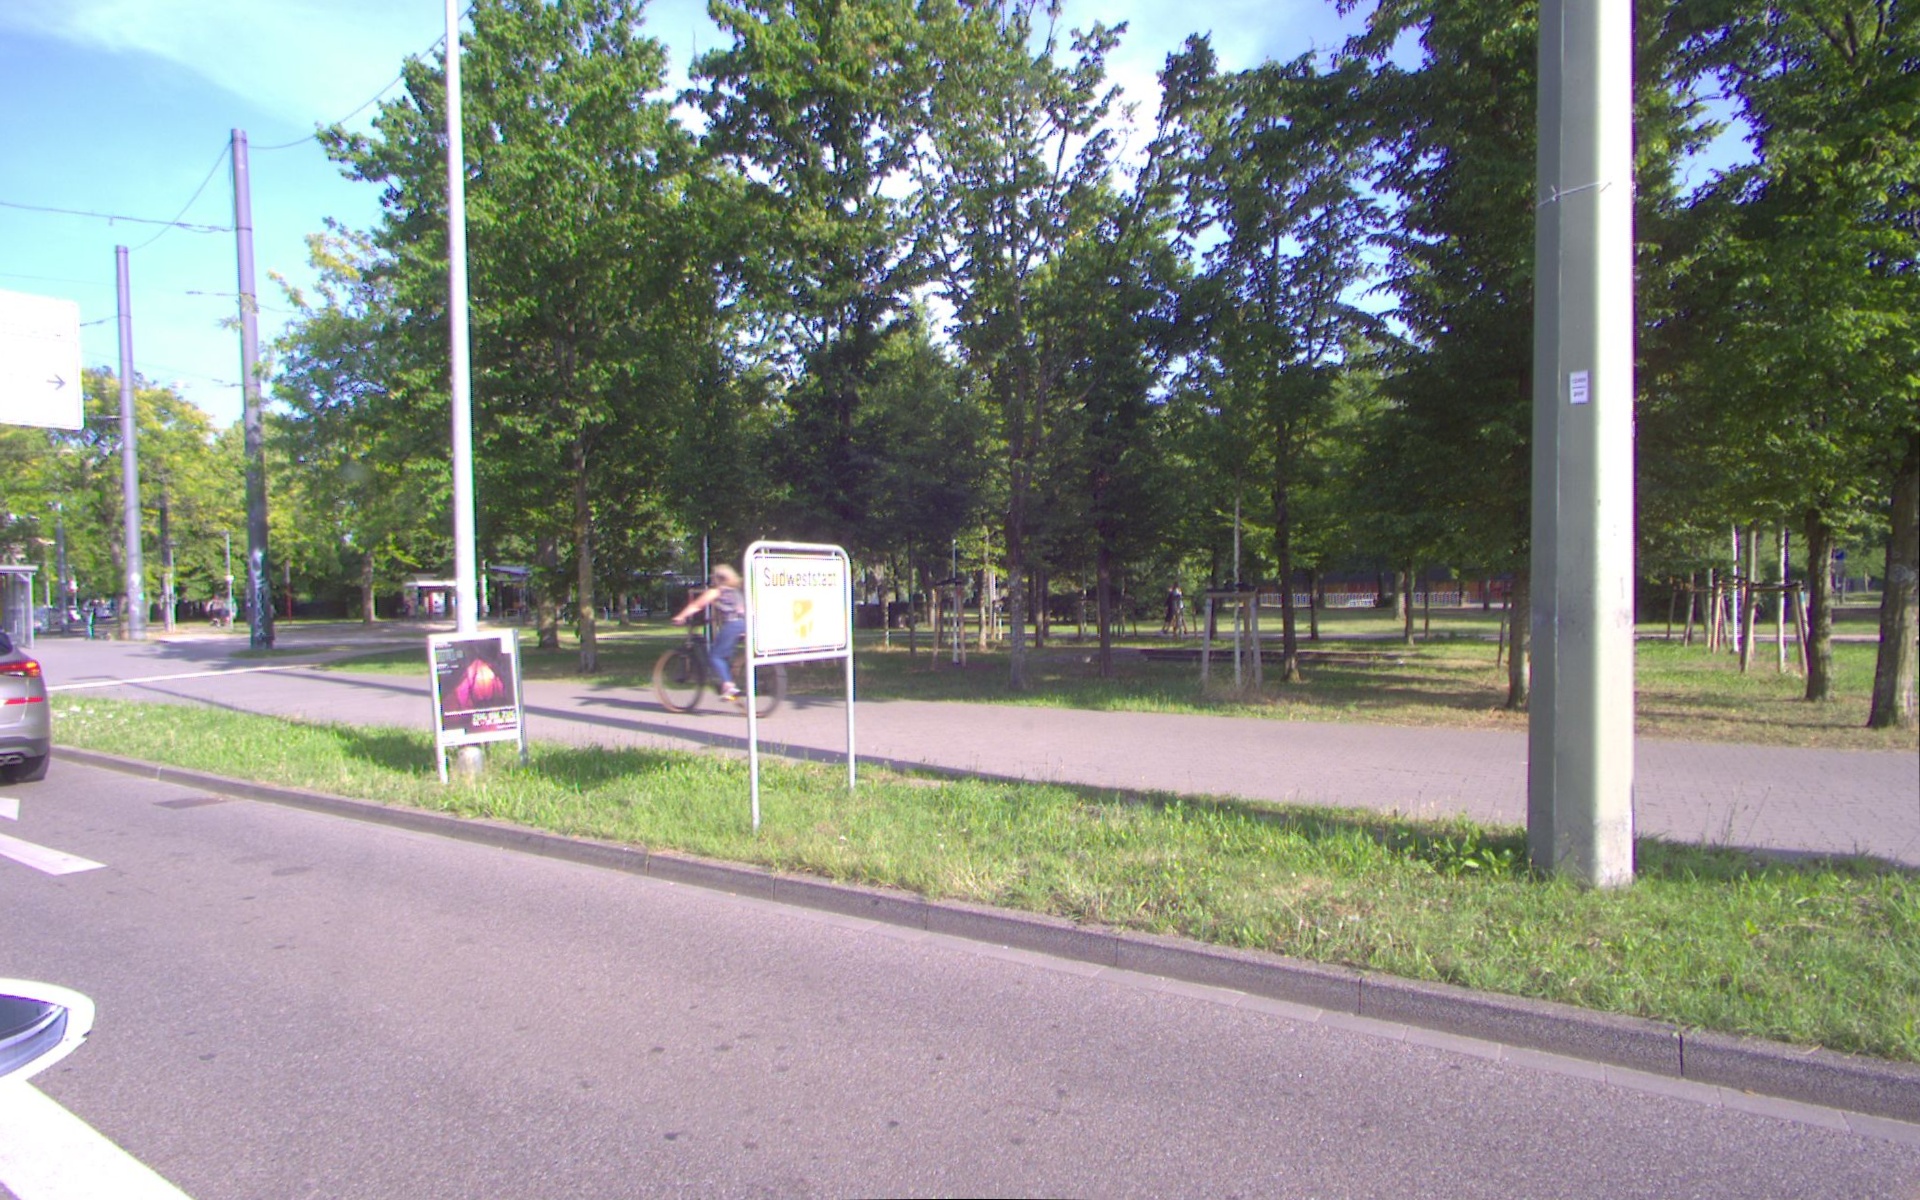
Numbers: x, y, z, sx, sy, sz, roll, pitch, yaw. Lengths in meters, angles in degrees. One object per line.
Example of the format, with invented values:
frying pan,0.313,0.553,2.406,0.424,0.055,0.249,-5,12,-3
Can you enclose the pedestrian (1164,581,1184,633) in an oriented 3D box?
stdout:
pedestrian,7.538,0.242,35.261,0.617,1.836,0.502,-1,1,3

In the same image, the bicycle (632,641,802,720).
bicycle,-2.745,0.872,11.193,2.138,0.767,0.494,-1,2,33

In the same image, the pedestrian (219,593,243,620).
pedestrian,-41.098,0.371,56.442,0.688,1.508,0.813,0,1,22

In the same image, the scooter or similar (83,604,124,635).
scooter or similar,-31.528,0.706,36.852,1.305,1.132,0.420,-1,1,13

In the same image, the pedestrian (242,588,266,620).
pedestrian,-40.255,0.248,57.128,0.826,1.809,0.798,0,1,28

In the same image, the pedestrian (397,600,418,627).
pedestrian,-33.691,0.824,61.047,0.792,1.659,0.832,0,1,38

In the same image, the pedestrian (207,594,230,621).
pedestrian,-41.034,0.416,55.415,0.687,1.508,0.815,-1,1,-9

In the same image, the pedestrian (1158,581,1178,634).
pedestrian,7.213,0.254,34.670,0.617,1.836,0.502,-1,1,6

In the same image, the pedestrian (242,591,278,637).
pedestrian,-25.698,0.517,36.778,0.793,1.659,0.754,-1,1,-7

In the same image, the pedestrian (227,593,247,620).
pedestrian,-39.994,0.362,55.398,0.804,1.508,0.696,-2,1,-33

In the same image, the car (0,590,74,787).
car,-9.963,0.782,9.127,3.595,1.673,1.880,-1,1,32

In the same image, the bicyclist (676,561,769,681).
bicyclist,-2.633,0.225,11.092,0.856,1.279,0.533,0,1,32
